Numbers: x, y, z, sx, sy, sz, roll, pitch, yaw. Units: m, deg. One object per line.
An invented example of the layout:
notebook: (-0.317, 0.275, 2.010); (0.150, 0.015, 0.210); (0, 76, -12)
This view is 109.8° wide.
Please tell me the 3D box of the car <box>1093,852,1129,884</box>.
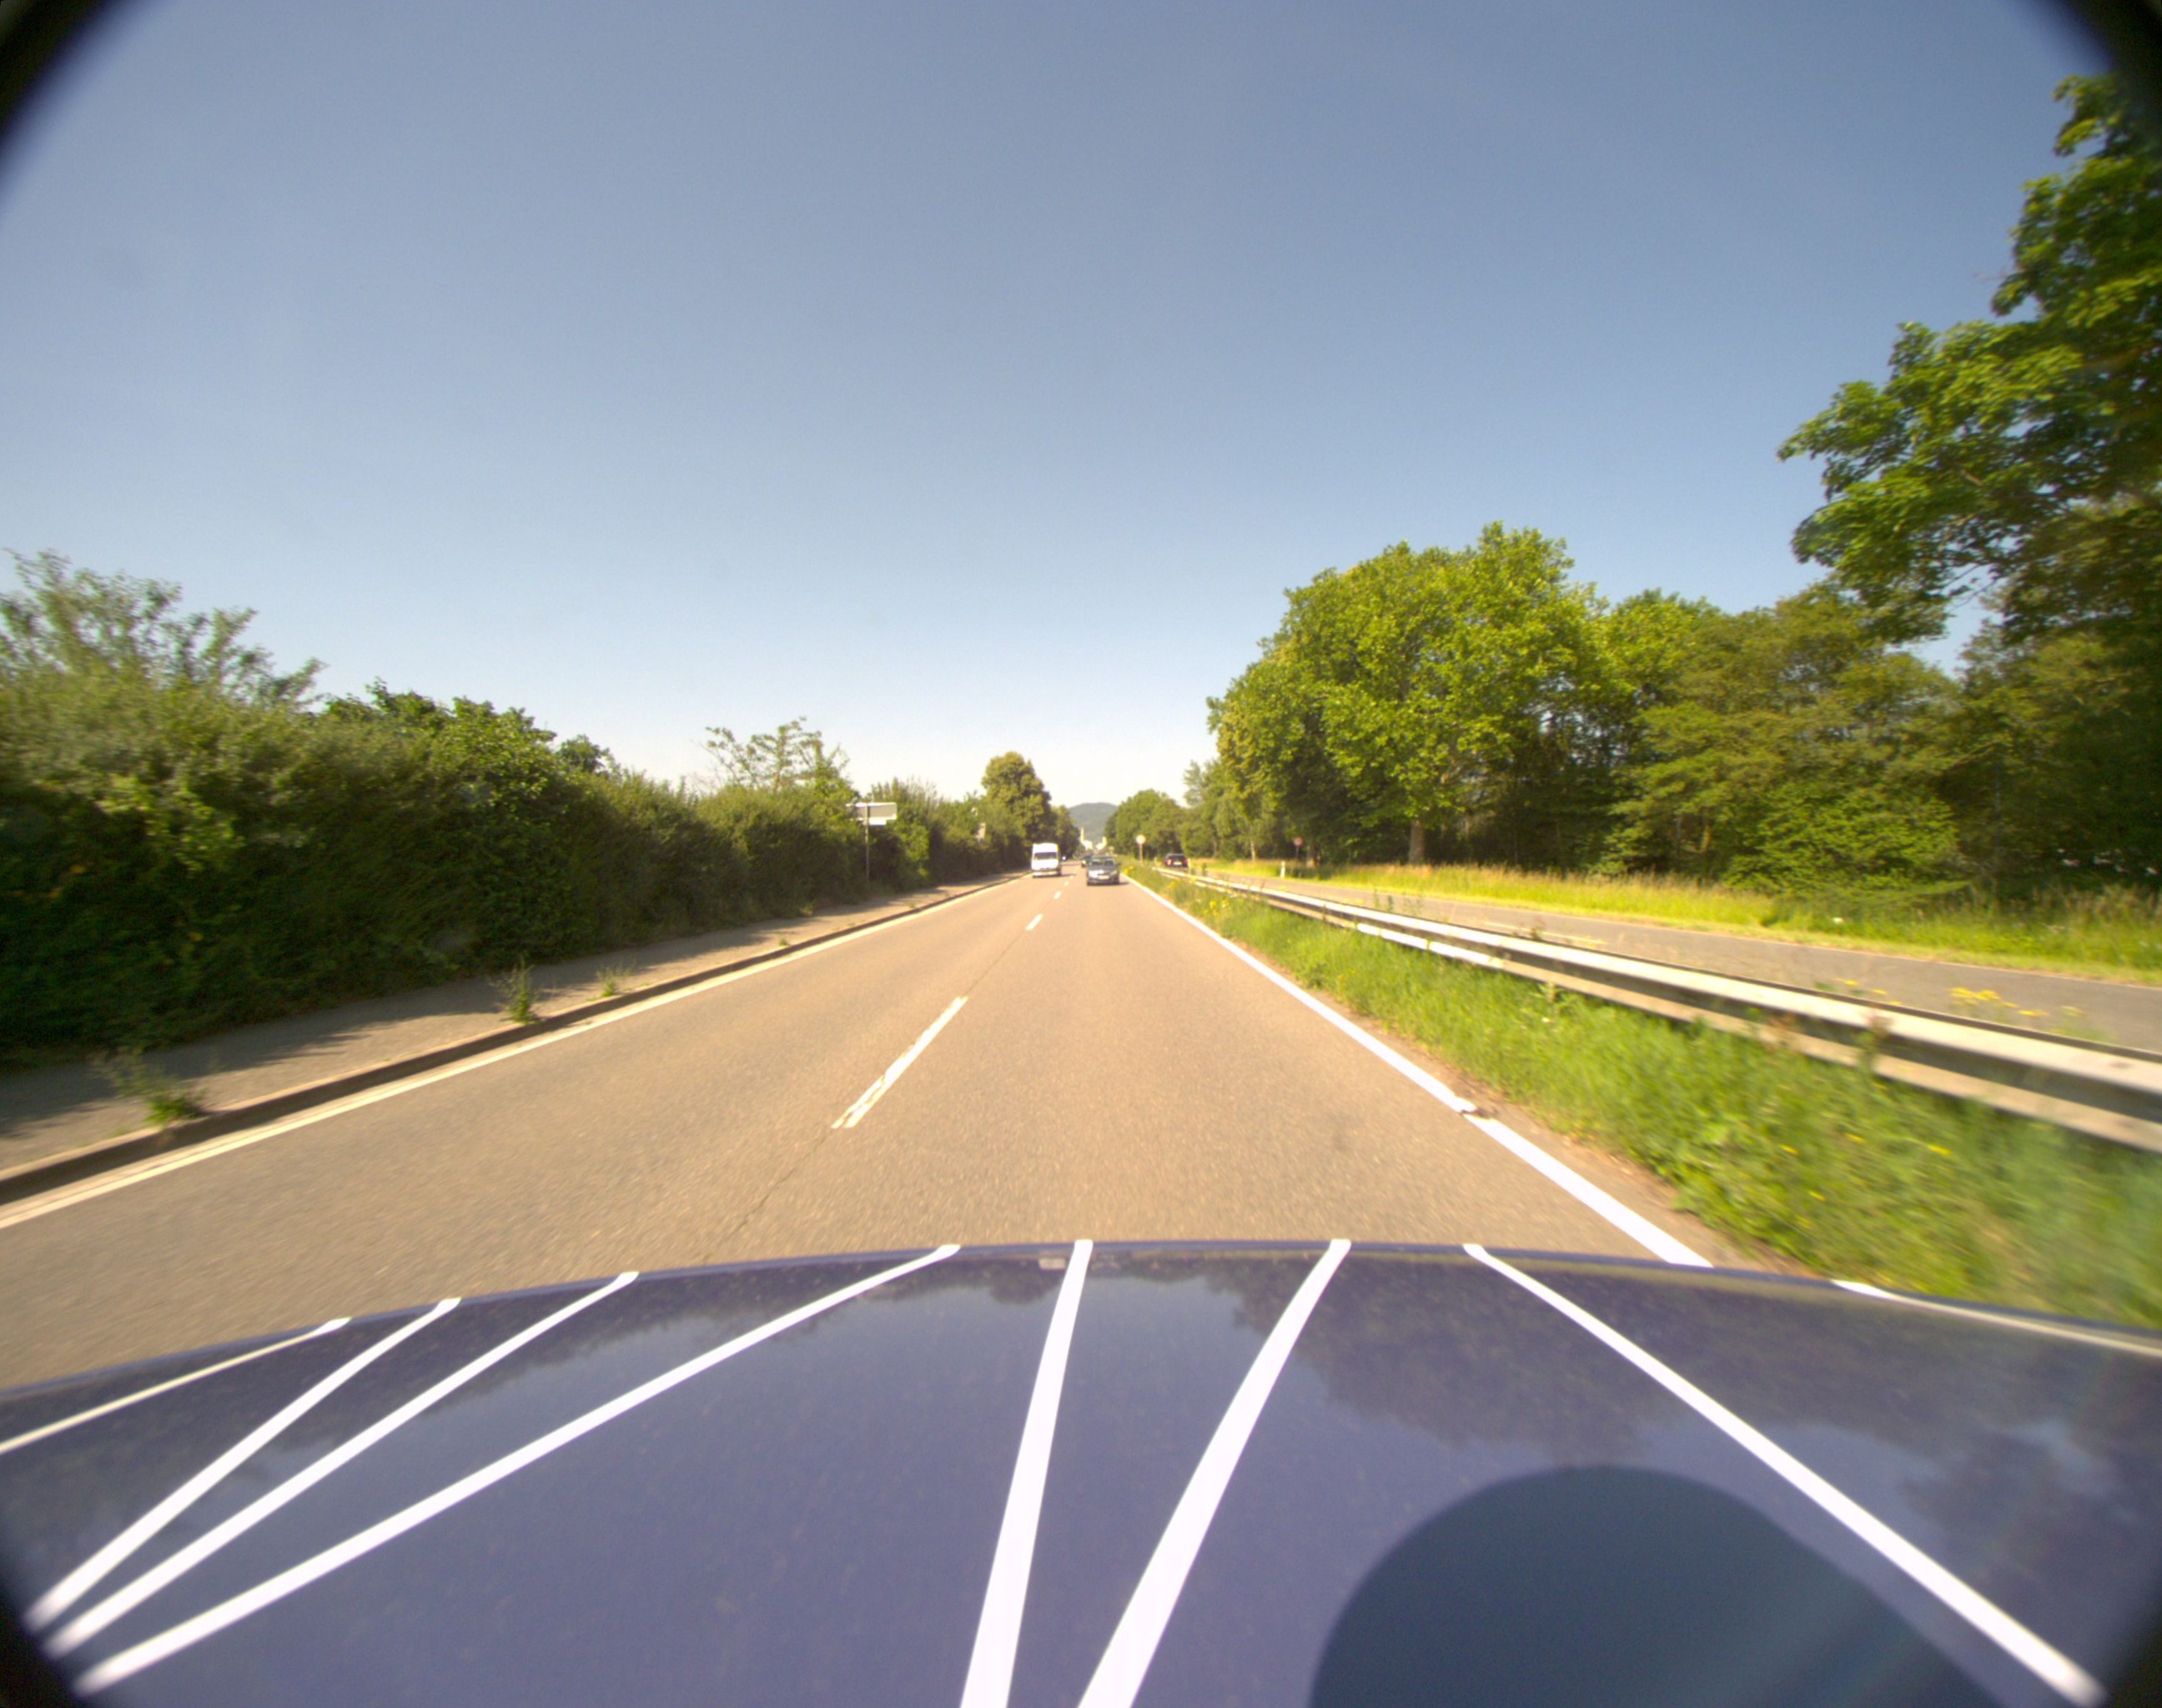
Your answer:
car: (1.483, 0.665, 38.700); (1.678, 1.435, 4.361); (-2, 1, 1)

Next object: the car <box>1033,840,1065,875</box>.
car: (-2.336, 0.238, 56.750); (1.998, 2.433, 5.088); (-2, 1, 1)

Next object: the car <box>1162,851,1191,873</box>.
car: (6.957, 0.560, 55.614); (1.783, 1.521, 4.161); (0, 1, 2)

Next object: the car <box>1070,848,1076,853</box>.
car: (-2.621, -1.069, 254.236); (1.825, 1.591, 4.000); (0, 1, 1)

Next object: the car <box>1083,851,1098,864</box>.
car: (1.058, 0.374, 85.580); (1.678, 1.435, 3.621); (-2, 1, 1)
